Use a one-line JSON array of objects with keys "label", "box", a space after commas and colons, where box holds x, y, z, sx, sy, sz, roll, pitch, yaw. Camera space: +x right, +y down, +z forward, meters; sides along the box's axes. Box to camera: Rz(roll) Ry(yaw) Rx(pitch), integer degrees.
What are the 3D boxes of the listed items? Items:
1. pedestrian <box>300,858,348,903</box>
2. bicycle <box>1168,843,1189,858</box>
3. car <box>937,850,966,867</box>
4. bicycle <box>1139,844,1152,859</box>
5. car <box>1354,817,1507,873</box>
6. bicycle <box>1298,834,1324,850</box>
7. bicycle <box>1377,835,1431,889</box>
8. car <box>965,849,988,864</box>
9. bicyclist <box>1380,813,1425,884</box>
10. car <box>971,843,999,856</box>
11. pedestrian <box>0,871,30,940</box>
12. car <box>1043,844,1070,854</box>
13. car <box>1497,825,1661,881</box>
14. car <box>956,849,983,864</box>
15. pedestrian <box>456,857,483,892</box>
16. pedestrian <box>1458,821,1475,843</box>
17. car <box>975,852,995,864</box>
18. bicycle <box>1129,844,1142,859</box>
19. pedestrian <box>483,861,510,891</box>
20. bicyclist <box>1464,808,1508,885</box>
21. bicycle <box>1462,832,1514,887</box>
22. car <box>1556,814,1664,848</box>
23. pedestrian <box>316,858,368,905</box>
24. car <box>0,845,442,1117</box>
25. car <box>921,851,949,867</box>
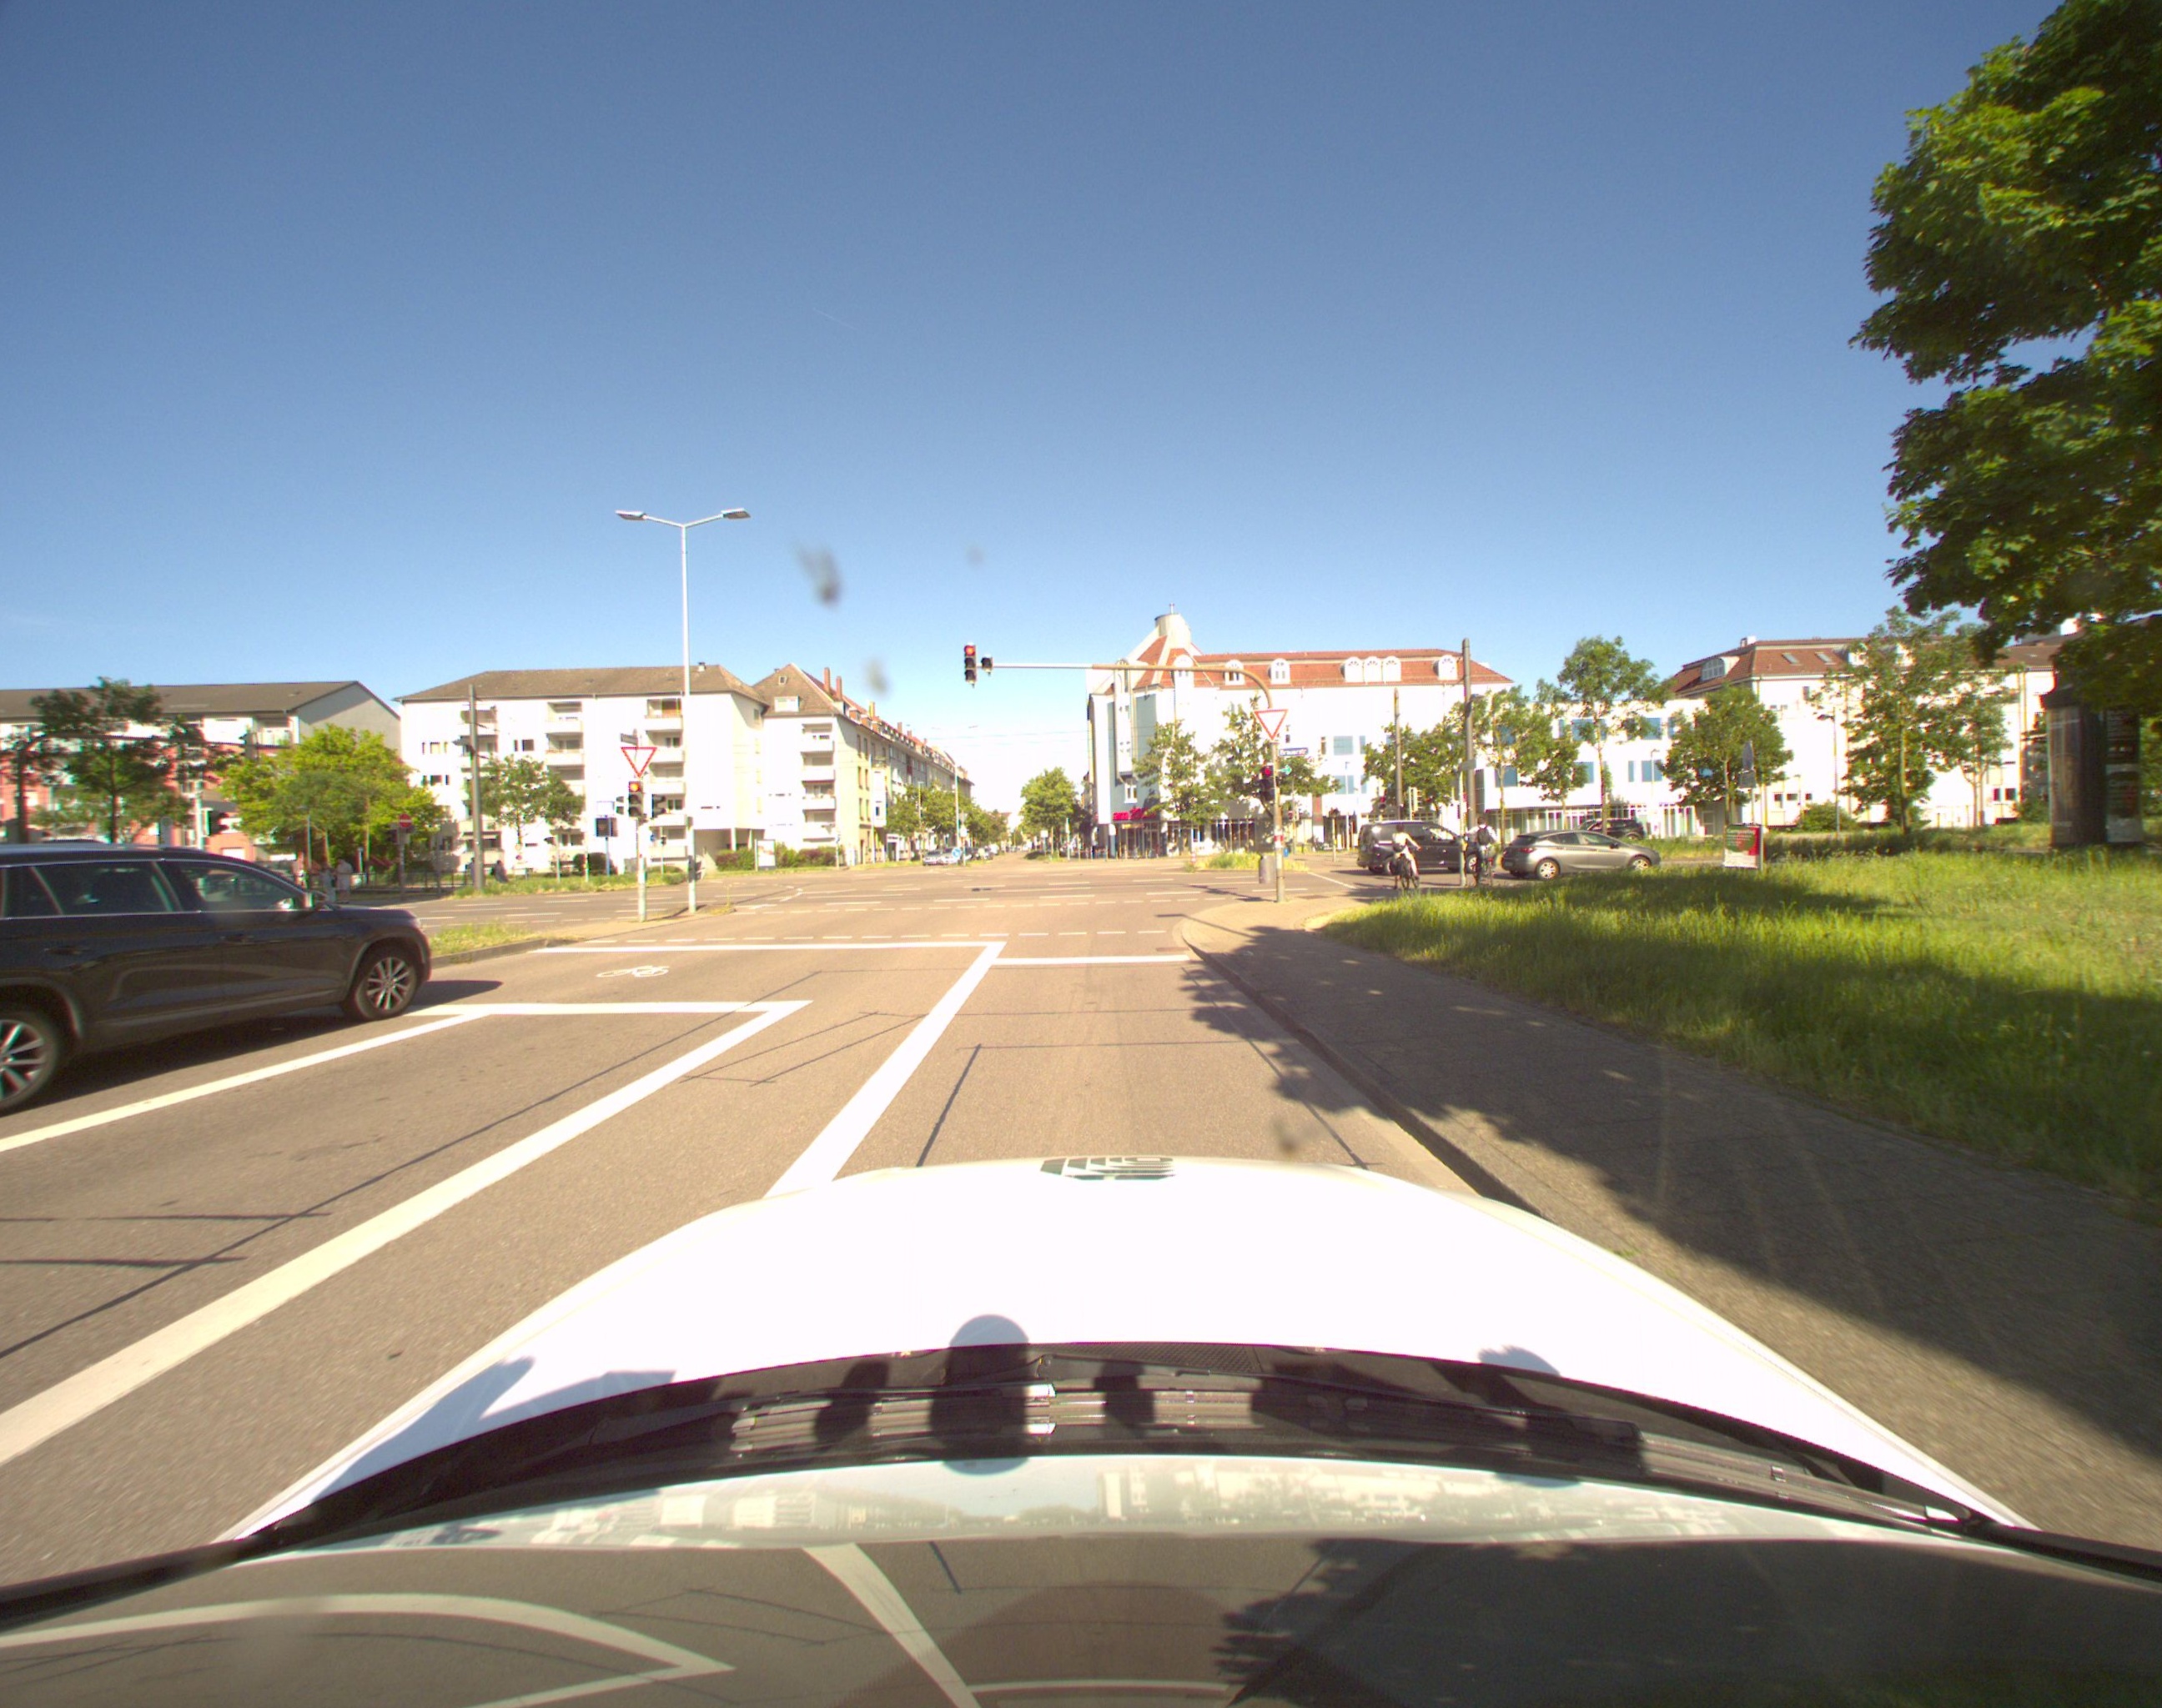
[{"label": "pedestrian", "box": [-30.433, 1.055, 32.767, 0.809, 1.726, 1.152, -2, 1, -5]}, {"label": "bicycle", "box": [7.164, -0.261, 59.927, 1.502, 1.027, 0.474, -2, 0, 9]}, {"label": "car", "box": [-11.430, 0.343, 72.140, 1.681, 1.432, 4.402, 0, 0, 2]}, {"label": "bicycle", "box": [4.611, -0.204, 58.141, 0.472, 1.027, 1.510, -2, 1, -12]}, {"label": "car", "box": [11.784, -0.304, 27.675, 4.468, 1.800, 1.764, 0, 0, 0]}, {"label": "bicycle", "box": [18.177, -0.964, 64.312, 1.861, 1.182, 0.561, -2, 0, -5]}, {"label": "bicycle", "box": [8.723, 0.204, 21.947, 0.782, 1.347, 2.092, -2, 1, 37]}, {"label": "car", "box": [-10.838, 0.233, 84.512, 1.681, 1.432, 4.402, 0, 0, 2]}, {"label": "bicyclist", "box": [8.624, -0.151, 21.810, 0.782, 1.824, 1.143, -2, 0, 37]}, {"label": "car", "box": [-16.639, -0.752, 141.301, 4.496, 2.014, 1.997, -1, -1, -4]}, {"label": "pedestrian", "box": [-27.468, 1.315, 20.353, 0.809, 1.726, 1.152, -2, 1, -5]}, {"label": "car", "box": [-3.311, -0.646, 110.795, 3.565, 1.223, 1.726, -1, 0, -8]}, {"label": "car", "box": [14.661, -0.046, 24.133, 3.845, 1.577, 1.694, 0, 0, 1]}, {"label": "car", "box": [-10.743, 0.248, 78.841, 1.681, 1.432, 4.404, 0, 0, 3]}, {"label": "pedestrian", "box": [-31.229, 1.063, 41.582, 1.139, 1.726, 0.818, -2, 1, 41]}, {"label": "pedestrian", "box": [31.019, -1.763, 65.582, 0.987, 1.723, 0.654, -2, 0, -2]}, {"label": "car", "box": [-11.153, 0.451, 94.613, 1.681, 1.432, 4.402, 0, 0, 2]}, {"label": "bicycle", "box": [3.845, -0.160, 57.607, 0.472, 1.027, 1.510, -2, 1, -11]}, {"label": "pedestrian", "box": [-30.287, 1.129, 42.193, 0.723, 1.533, 0.856, -2, 0, -6]}, {"label": "bicyclist", "box": [10.617, -0.188, 21.346, 0.782, 1.959, 1.018, -2, 0, 37]}, {"label": "bicycle", "box": [10.779, 0.130, 21.516, 0.782, 1.347, 2.277, -2, 1, 37]}, {"label": "car", "box": [28.775, -1.222, 44.448, 4.475, 1.609, 2.005, -2, 1, 8]}, {"label": "pedestrian", "box": [-29.078, 1.059, 32.060, 0.919, 1.770, 1.152, -2, 1, -6]}, {"label": "car", "box": [-7.364, 0.748, 6.053, 1.749, 1.628, 4.476, 0, 0, -1]}, {"label": "car", "box": [-13.458, 0.405, 75.210, 1.681, 1.432, 4.402, 0, 0, 2]}]
